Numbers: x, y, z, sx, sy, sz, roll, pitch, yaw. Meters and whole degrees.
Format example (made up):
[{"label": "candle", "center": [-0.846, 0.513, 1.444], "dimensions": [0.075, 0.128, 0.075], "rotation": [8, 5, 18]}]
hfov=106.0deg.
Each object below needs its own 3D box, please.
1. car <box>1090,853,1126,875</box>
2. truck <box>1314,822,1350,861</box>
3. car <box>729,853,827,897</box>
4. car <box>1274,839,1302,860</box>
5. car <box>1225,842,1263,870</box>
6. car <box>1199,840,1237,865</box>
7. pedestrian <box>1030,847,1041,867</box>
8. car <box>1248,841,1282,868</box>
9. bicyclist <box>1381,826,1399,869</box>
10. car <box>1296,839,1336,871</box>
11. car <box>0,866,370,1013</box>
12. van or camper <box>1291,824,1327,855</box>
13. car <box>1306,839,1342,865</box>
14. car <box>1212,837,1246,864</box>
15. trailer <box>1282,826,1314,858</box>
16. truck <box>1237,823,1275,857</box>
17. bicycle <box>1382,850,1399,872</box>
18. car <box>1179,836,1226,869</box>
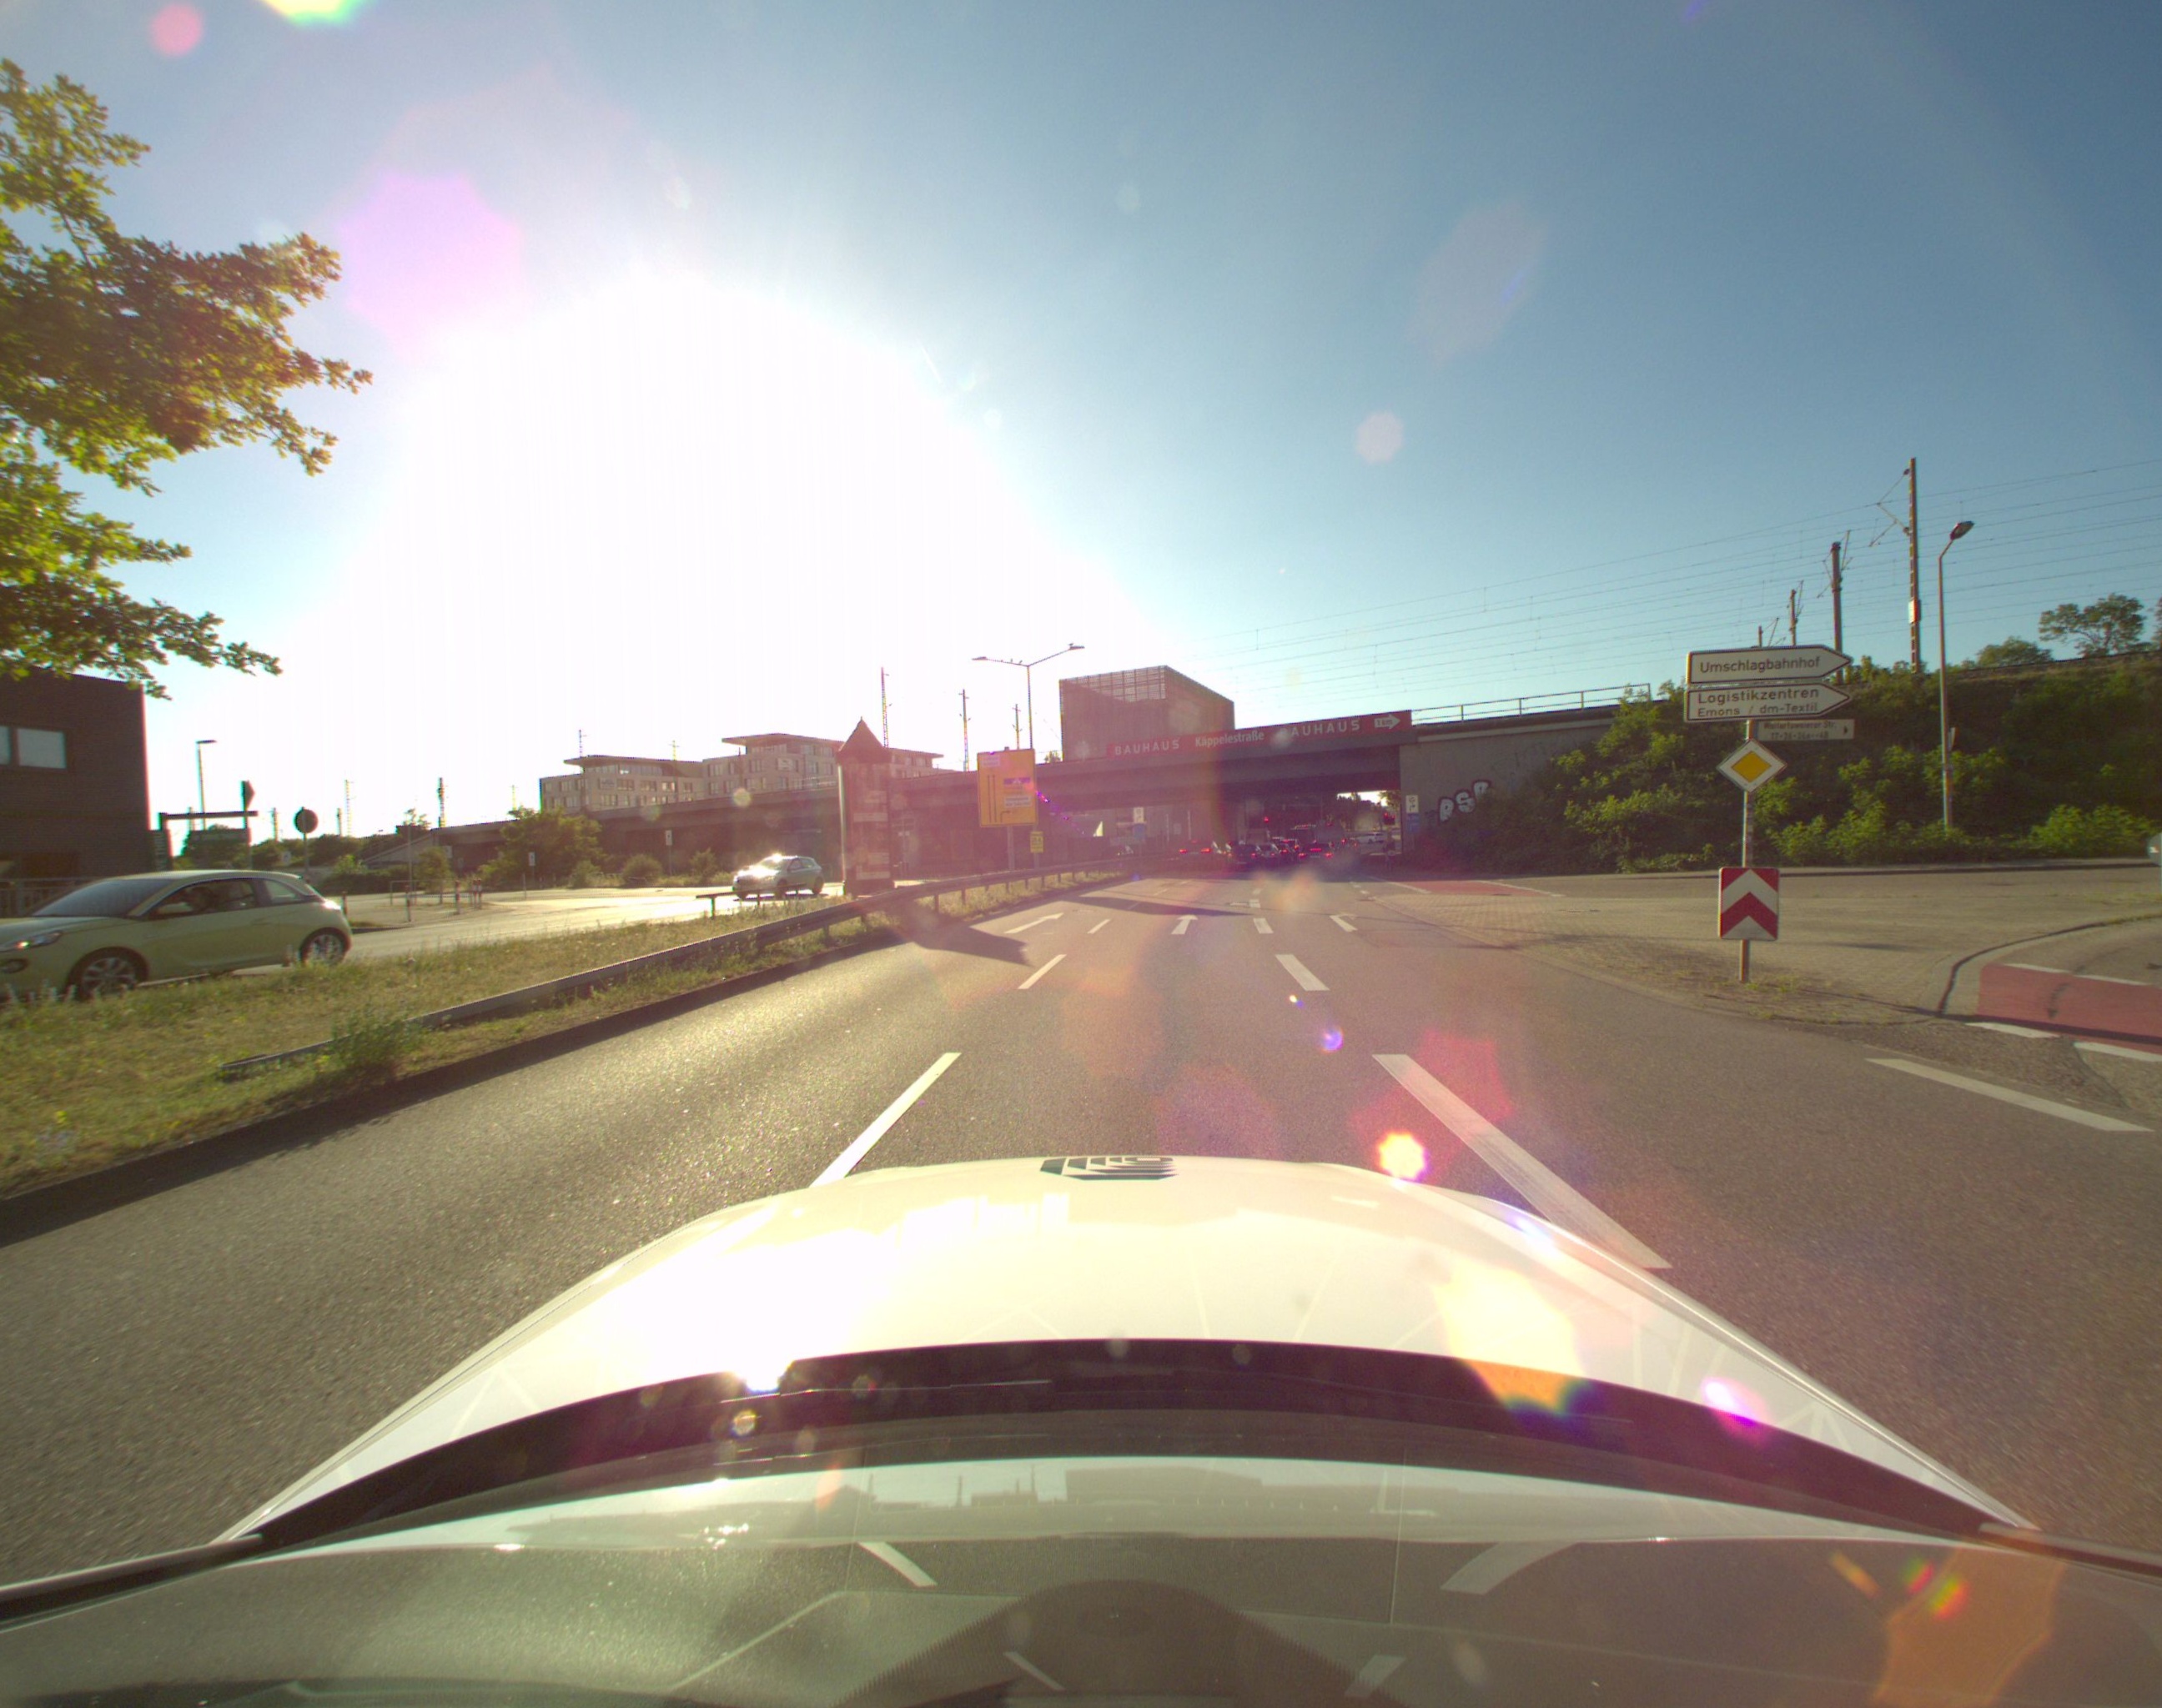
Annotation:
[{"label": "car", "center": [2.218, 0.759, 65.864], "dimensions": [1.832, 1.603, 4.412], "rotation": [-5, -1, 15]}, {"label": "truck", "center": [17.643, -0.829, 57.132], "dimensions": [2.093, 2.519, 4.423], "rotation": [-3, -1, 20]}, {"label": "car", "center": [-11.090, 0.748, 30.132], "dimensions": [1.663, 1.462, 4.113], "rotation": [-2, -1, 7]}, {"label": "car", "center": [15.435, -0.322, 60.664], "dimensions": [1.568, 1.532, 3.852], "rotation": [-1, 0, 21]}, {"label": "car", "center": [8.765, 0.094, 43.499], "dimensions": [1.569, 1.408, 3.849], "rotation": [-1, 0, 17]}, {"label": "car", "center": [8.923, -0.094, 52.839], "dimensions": [1.826, 1.440, 3.693], "rotation": [-5, -1, 18]}, {"label": "pedestrian", "center": [-4.264, 0.264, 76.364], "dimensions": [0.688, 1.903, 0.668], "rotation": [-2, 0, 23]}, {"label": "car", "center": [10.994, -0.011, 48.507], "dimensions": [1.535, 1.423, 3.433], "rotation": [-5, 0, 18]}, {"label": "bicyclist", "center": [14.003, -0.285, 36.915], "dimensions": [0.676, 1.907, 0.837], "rotation": [-2, 0, 19]}, {"label": "car", "center": [12.347, 0.027, 42.613], "dimensions": [1.726, 1.454, 4.629], "rotation": [-1, 1, 19]}, {"label": "car", "center": [-11.456, 0.919, 10.117], "dimensions": [1.732, 1.462, 3.770], "rotation": [-2, -1, 4]}, {"label": "van or camper", "center": [20.104, -1.265, 71.687], "dimensions": [1.975, 2.570, 5.952], "rotation": [-2, 0, 25]}, {"label": "car", "center": [14.986, -0.123, 50.096], "dimensions": [1.757, 1.495, 3.852], "rotation": [-3, -1, 21]}, {"label": "car", "center": [10.685, -0.258, 58.547], "dimensions": [1.827, 1.719, 4.017], "rotation": [-5, -1, 16]}, {"label": "trailer", "center": [17.785, -0.967, 66.567], "dimensions": [1.847, 2.465, 3.853], "rotation": [-3, -1, 23]}, {"label": "truck", "center": [14.174, -1.122, 65.673], "dimensions": [2.010, 2.556, 5.567], "rotation": [-2, 0, 22]}, {"label": "bicycle", "center": [13.958, 0.304, 36.781], "dimensions": [0.574, 0.963, 2.900], "rotation": [-2, 0, 19]}, {"label": "car", "center": [7.004, -0.086, 46.590], "dimensions": [1.814, 1.738, 4.483], "rotation": [-2, 0, 19]}]
